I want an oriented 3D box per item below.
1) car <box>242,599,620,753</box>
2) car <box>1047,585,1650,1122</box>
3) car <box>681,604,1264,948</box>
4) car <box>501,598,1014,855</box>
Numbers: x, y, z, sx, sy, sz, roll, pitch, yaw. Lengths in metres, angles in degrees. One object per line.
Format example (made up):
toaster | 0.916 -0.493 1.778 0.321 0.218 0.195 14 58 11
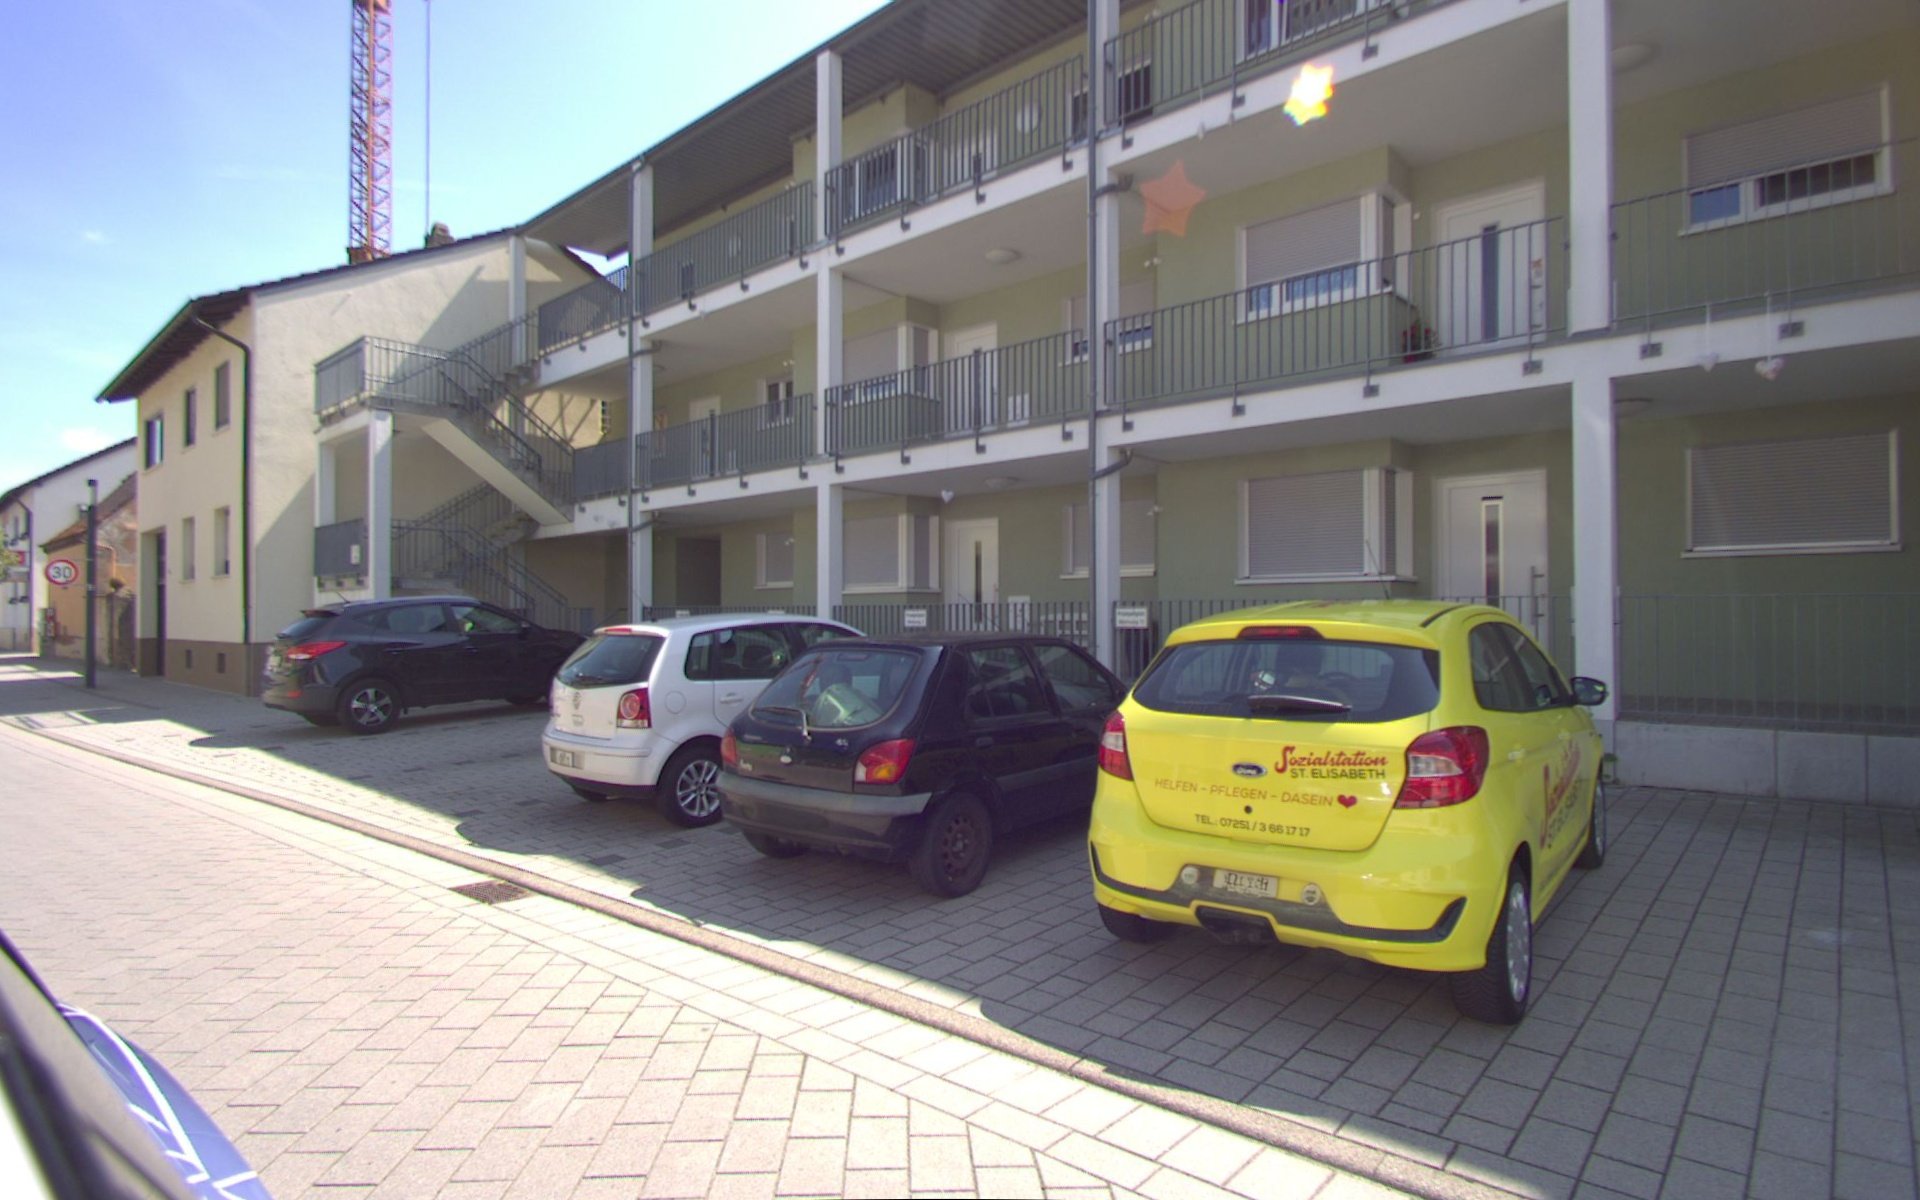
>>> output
car | -7.013 0.886 13.741 1.784 1.671 4.173 -2 0 43
car | 2.163 0.747 4.945 1.671 1.537 3.656 -2 0 39
car | 0.343 0.843 6.758 1.691 1.452 3.945 -2 1 42
car | -1.488 0.820 8.434 1.751 1.514 3.858 -2 0 43
